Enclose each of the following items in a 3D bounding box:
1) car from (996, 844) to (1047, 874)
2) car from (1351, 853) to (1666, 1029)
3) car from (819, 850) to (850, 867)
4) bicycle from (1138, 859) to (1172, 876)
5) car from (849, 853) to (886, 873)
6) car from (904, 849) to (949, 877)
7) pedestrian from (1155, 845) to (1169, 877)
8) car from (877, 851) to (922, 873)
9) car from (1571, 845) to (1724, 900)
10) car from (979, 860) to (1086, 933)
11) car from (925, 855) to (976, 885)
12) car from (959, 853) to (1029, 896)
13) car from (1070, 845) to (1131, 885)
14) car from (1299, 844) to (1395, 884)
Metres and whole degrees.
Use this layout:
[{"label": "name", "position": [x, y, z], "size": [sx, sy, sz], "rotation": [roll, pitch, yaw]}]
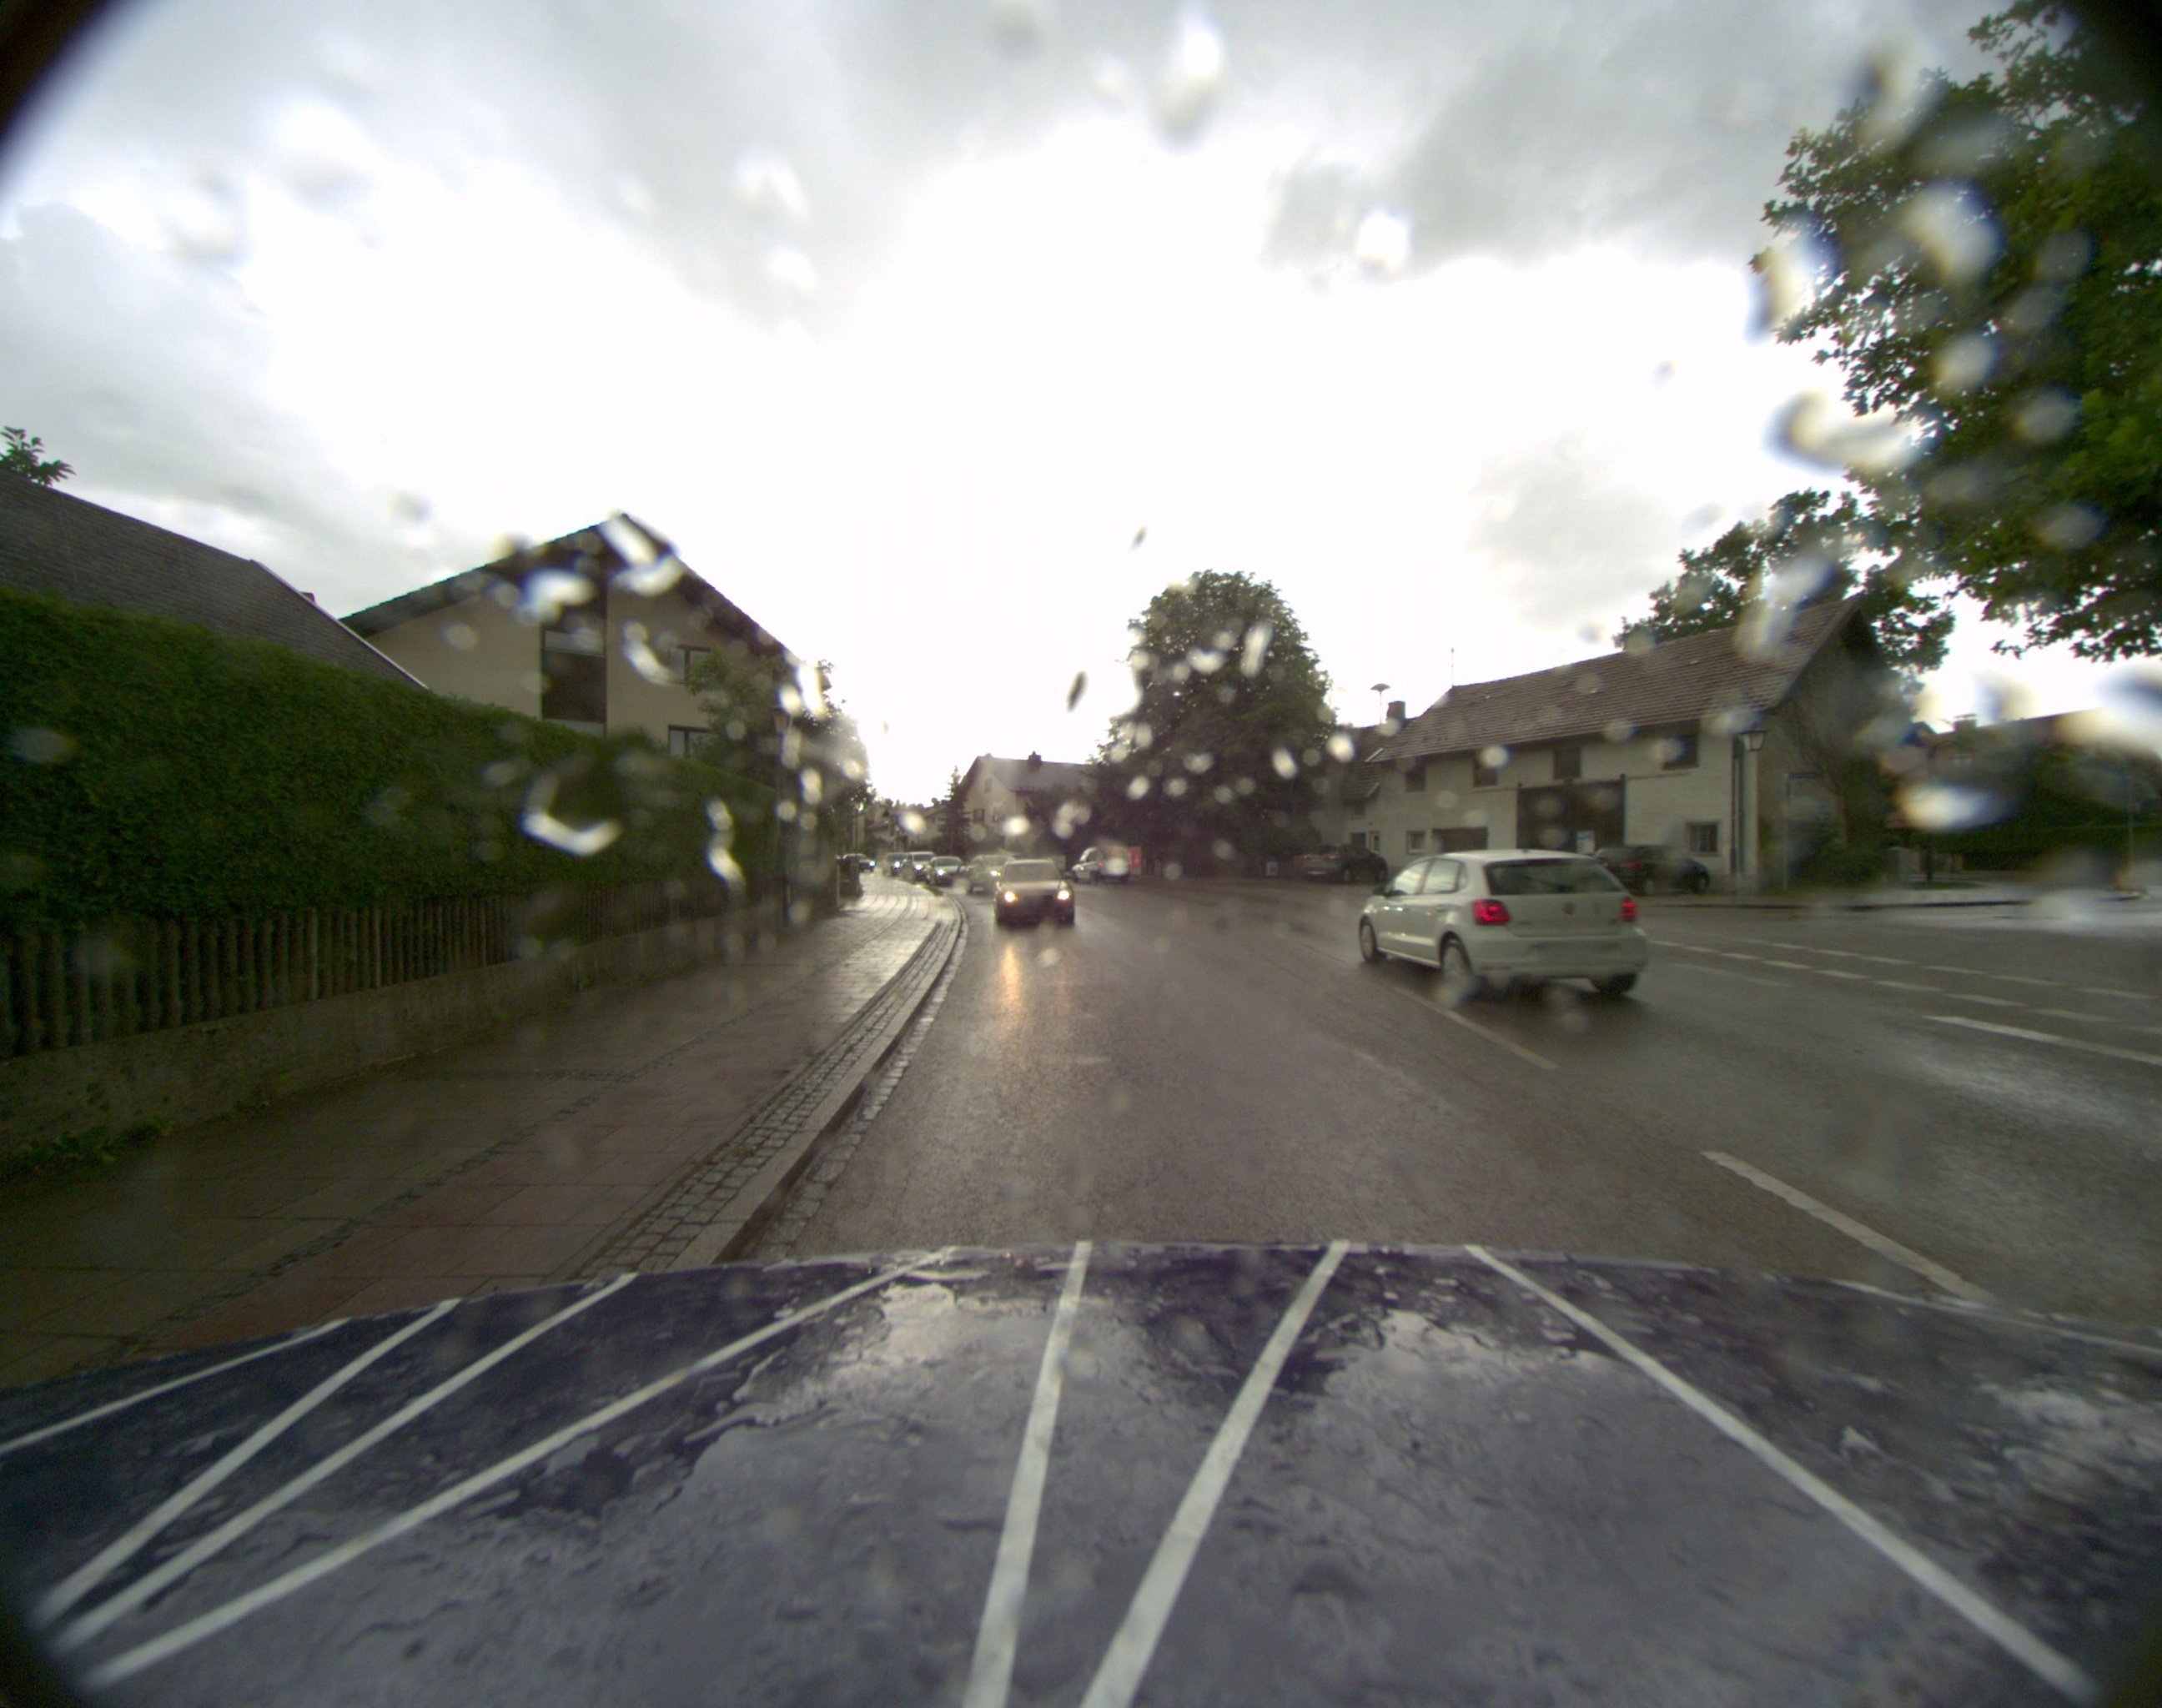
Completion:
[{"label": "car", "position": [-3.776, 0.261, 47.834], "size": [1.792, 1.654, 4.436], "rotation": [-2, 2, -24]}, {"label": "car", "position": [4.374, 0.763, 8.458], "size": [1.621, 1.436, 3.671], "rotation": [-2, 1, 4]}, {"label": "car", "position": [-23.691, 0.402, 72.947], "size": [1.798, 1.539, 4.270], "rotation": [-3, 1, -32]}, {"label": "bicycle", "position": [3.997, 0.726, 41.021], "size": [0.665, 0.897, 1.869], "rotation": [-2, 1, -43]}, {"label": "car", "position": [-17.810, 0.701, 63.318], "size": [1.798, 1.539, 4.271], "rotation": [-3, 1, -31]}, {"label": "car", "position": [-9.301, 0.528, 45.584], "size": [1.797, 1.539, 4.273], "rotation": [-3, 1, -23]}, {"label": "pedestrian", "position": [4.244, 0.361, 39.828], "size": [0.652, 1.619, 0.479], "rotation": [-1, 1, 18]}, {"label": "car", "position": [-12.717, 0.552, 53.045], "size": [1.798, 1.365, 4.271], "rotation": [-3, 1, -31]}, {"label": "car", "position": [16.505, 0.490, 22.111], "size": [4.287, 1.428, 1.817], "rotation": [-1, 1, -26]}, {"label": "car", "position": [-1.283, 0.910, 18.202], "size": [1.796, 1.387, 4.275], "rotation": [-3, 1, -14]}, {"label": "car", "position": [-6.730, 0.765, 38.899], "size": [1.796, 1.387, 4.273], "rotation": [-3, 1, -20]}, {"label": "car", "position": [-3.623, 0.751, 30.690], "size": [1.796, 1.471, 5.377], "rotation": [-3, 1, -17]}, {"label": "car", "position": [0.860, 0.466, 36.518], "size": [1.646, 1.755, 4.324], "rotation": [-3, 1, -16]}, {"label": "car", "position": [10.986, 0.409, 31.227], "size": [4.290, 1.539, 1.812], "rotation": [1, 0, -41]}]
